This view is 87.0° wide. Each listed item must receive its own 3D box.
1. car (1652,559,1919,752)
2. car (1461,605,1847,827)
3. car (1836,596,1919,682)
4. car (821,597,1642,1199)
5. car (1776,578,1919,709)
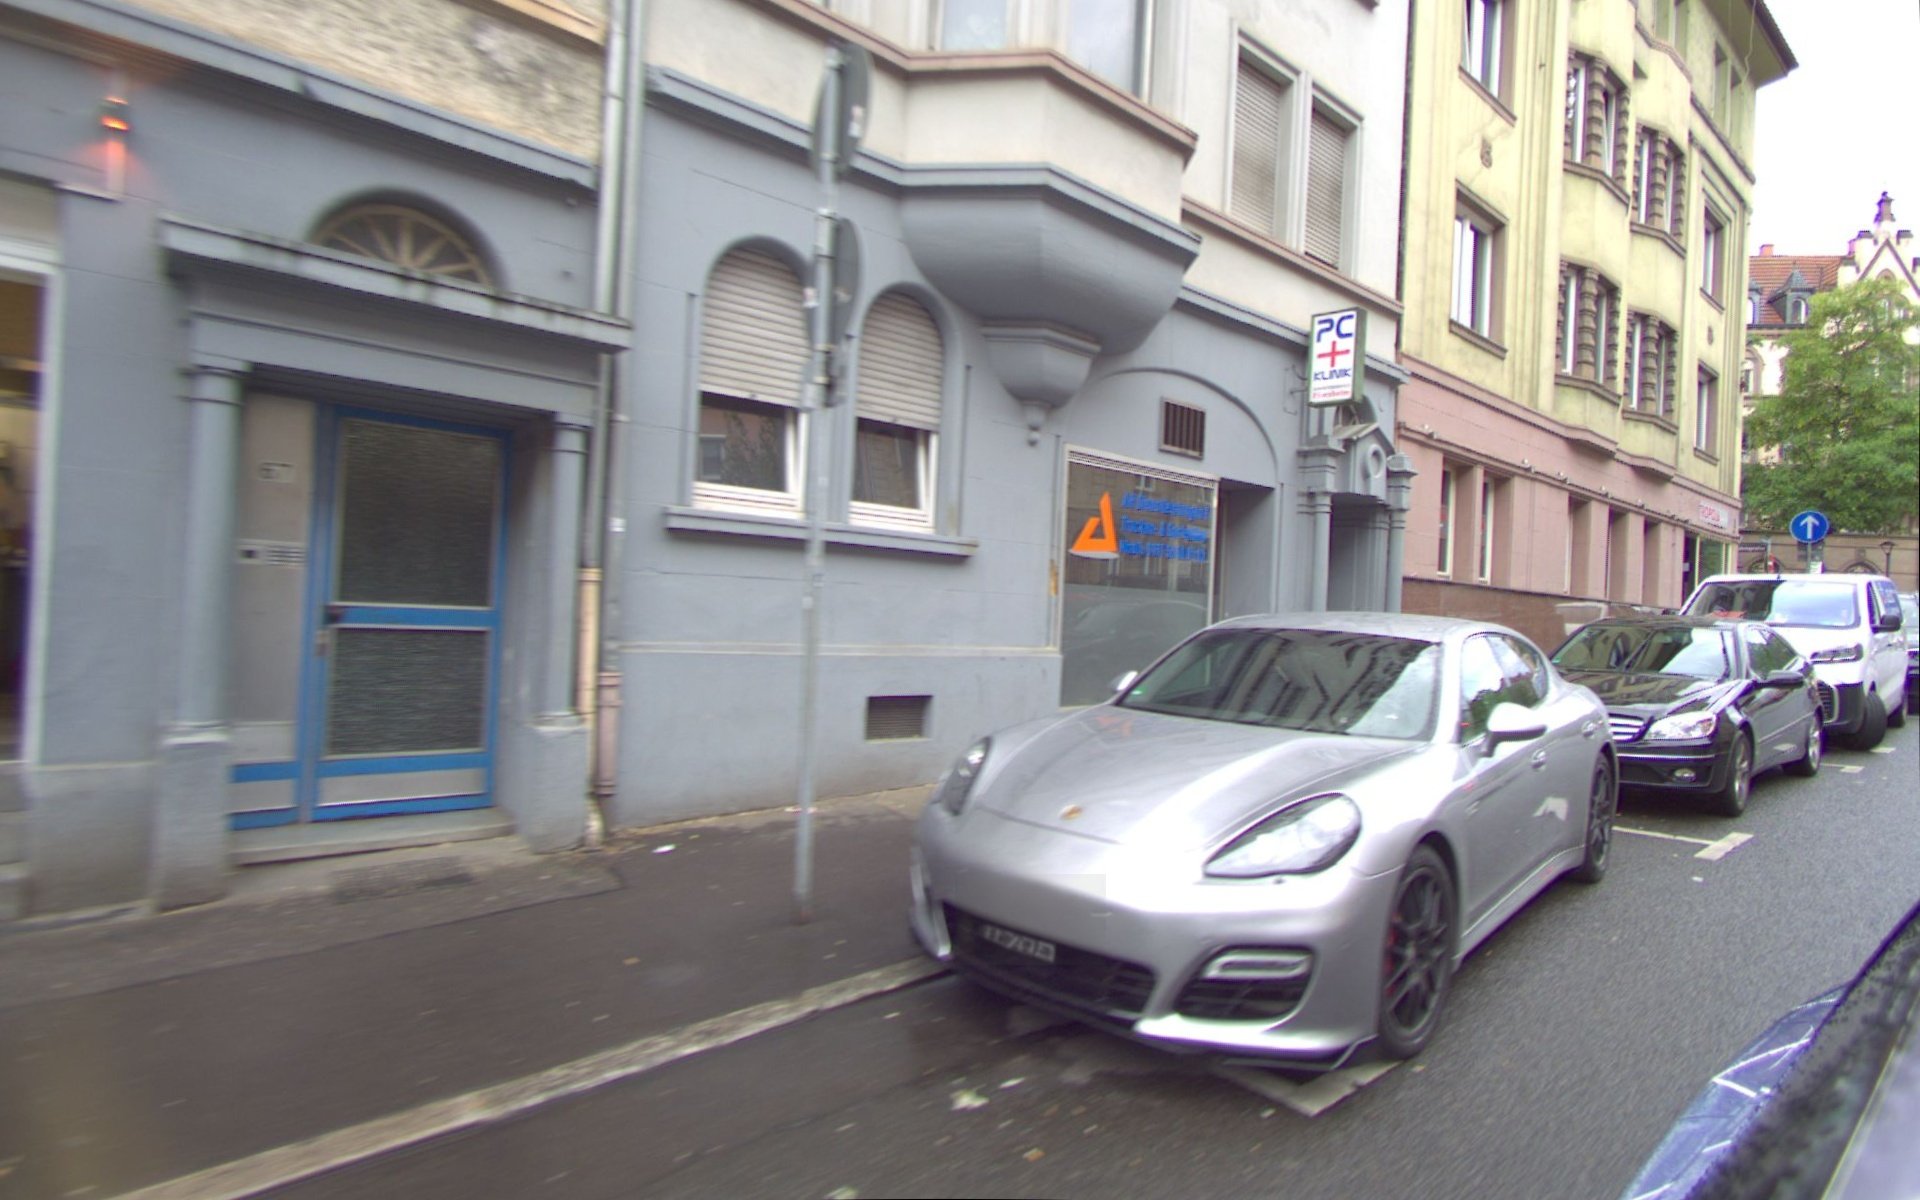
[{"bbox_3d":[10.236,0.510,12.185,4.921,1.850,1.923,0,2,-41],"label":"car"},{"bbox_3d":[5.966,0.751,8.496,4.201,1.392,1.680,0,0,-41],"label":"car"},{"bbox_3d":[19.143,0.718,20.330,4.415,1.585,1.801,0,-1,-42],"label":"car"},{"bbox_3d":[1.749,0.736,4.902,1.874,1.486,4.701,0,0,43],"label":"car"},{"bbox_3d":[14.456,0.582,15.779,4.595,1.753,1.883,0,2,-41],"label":"car"}]
